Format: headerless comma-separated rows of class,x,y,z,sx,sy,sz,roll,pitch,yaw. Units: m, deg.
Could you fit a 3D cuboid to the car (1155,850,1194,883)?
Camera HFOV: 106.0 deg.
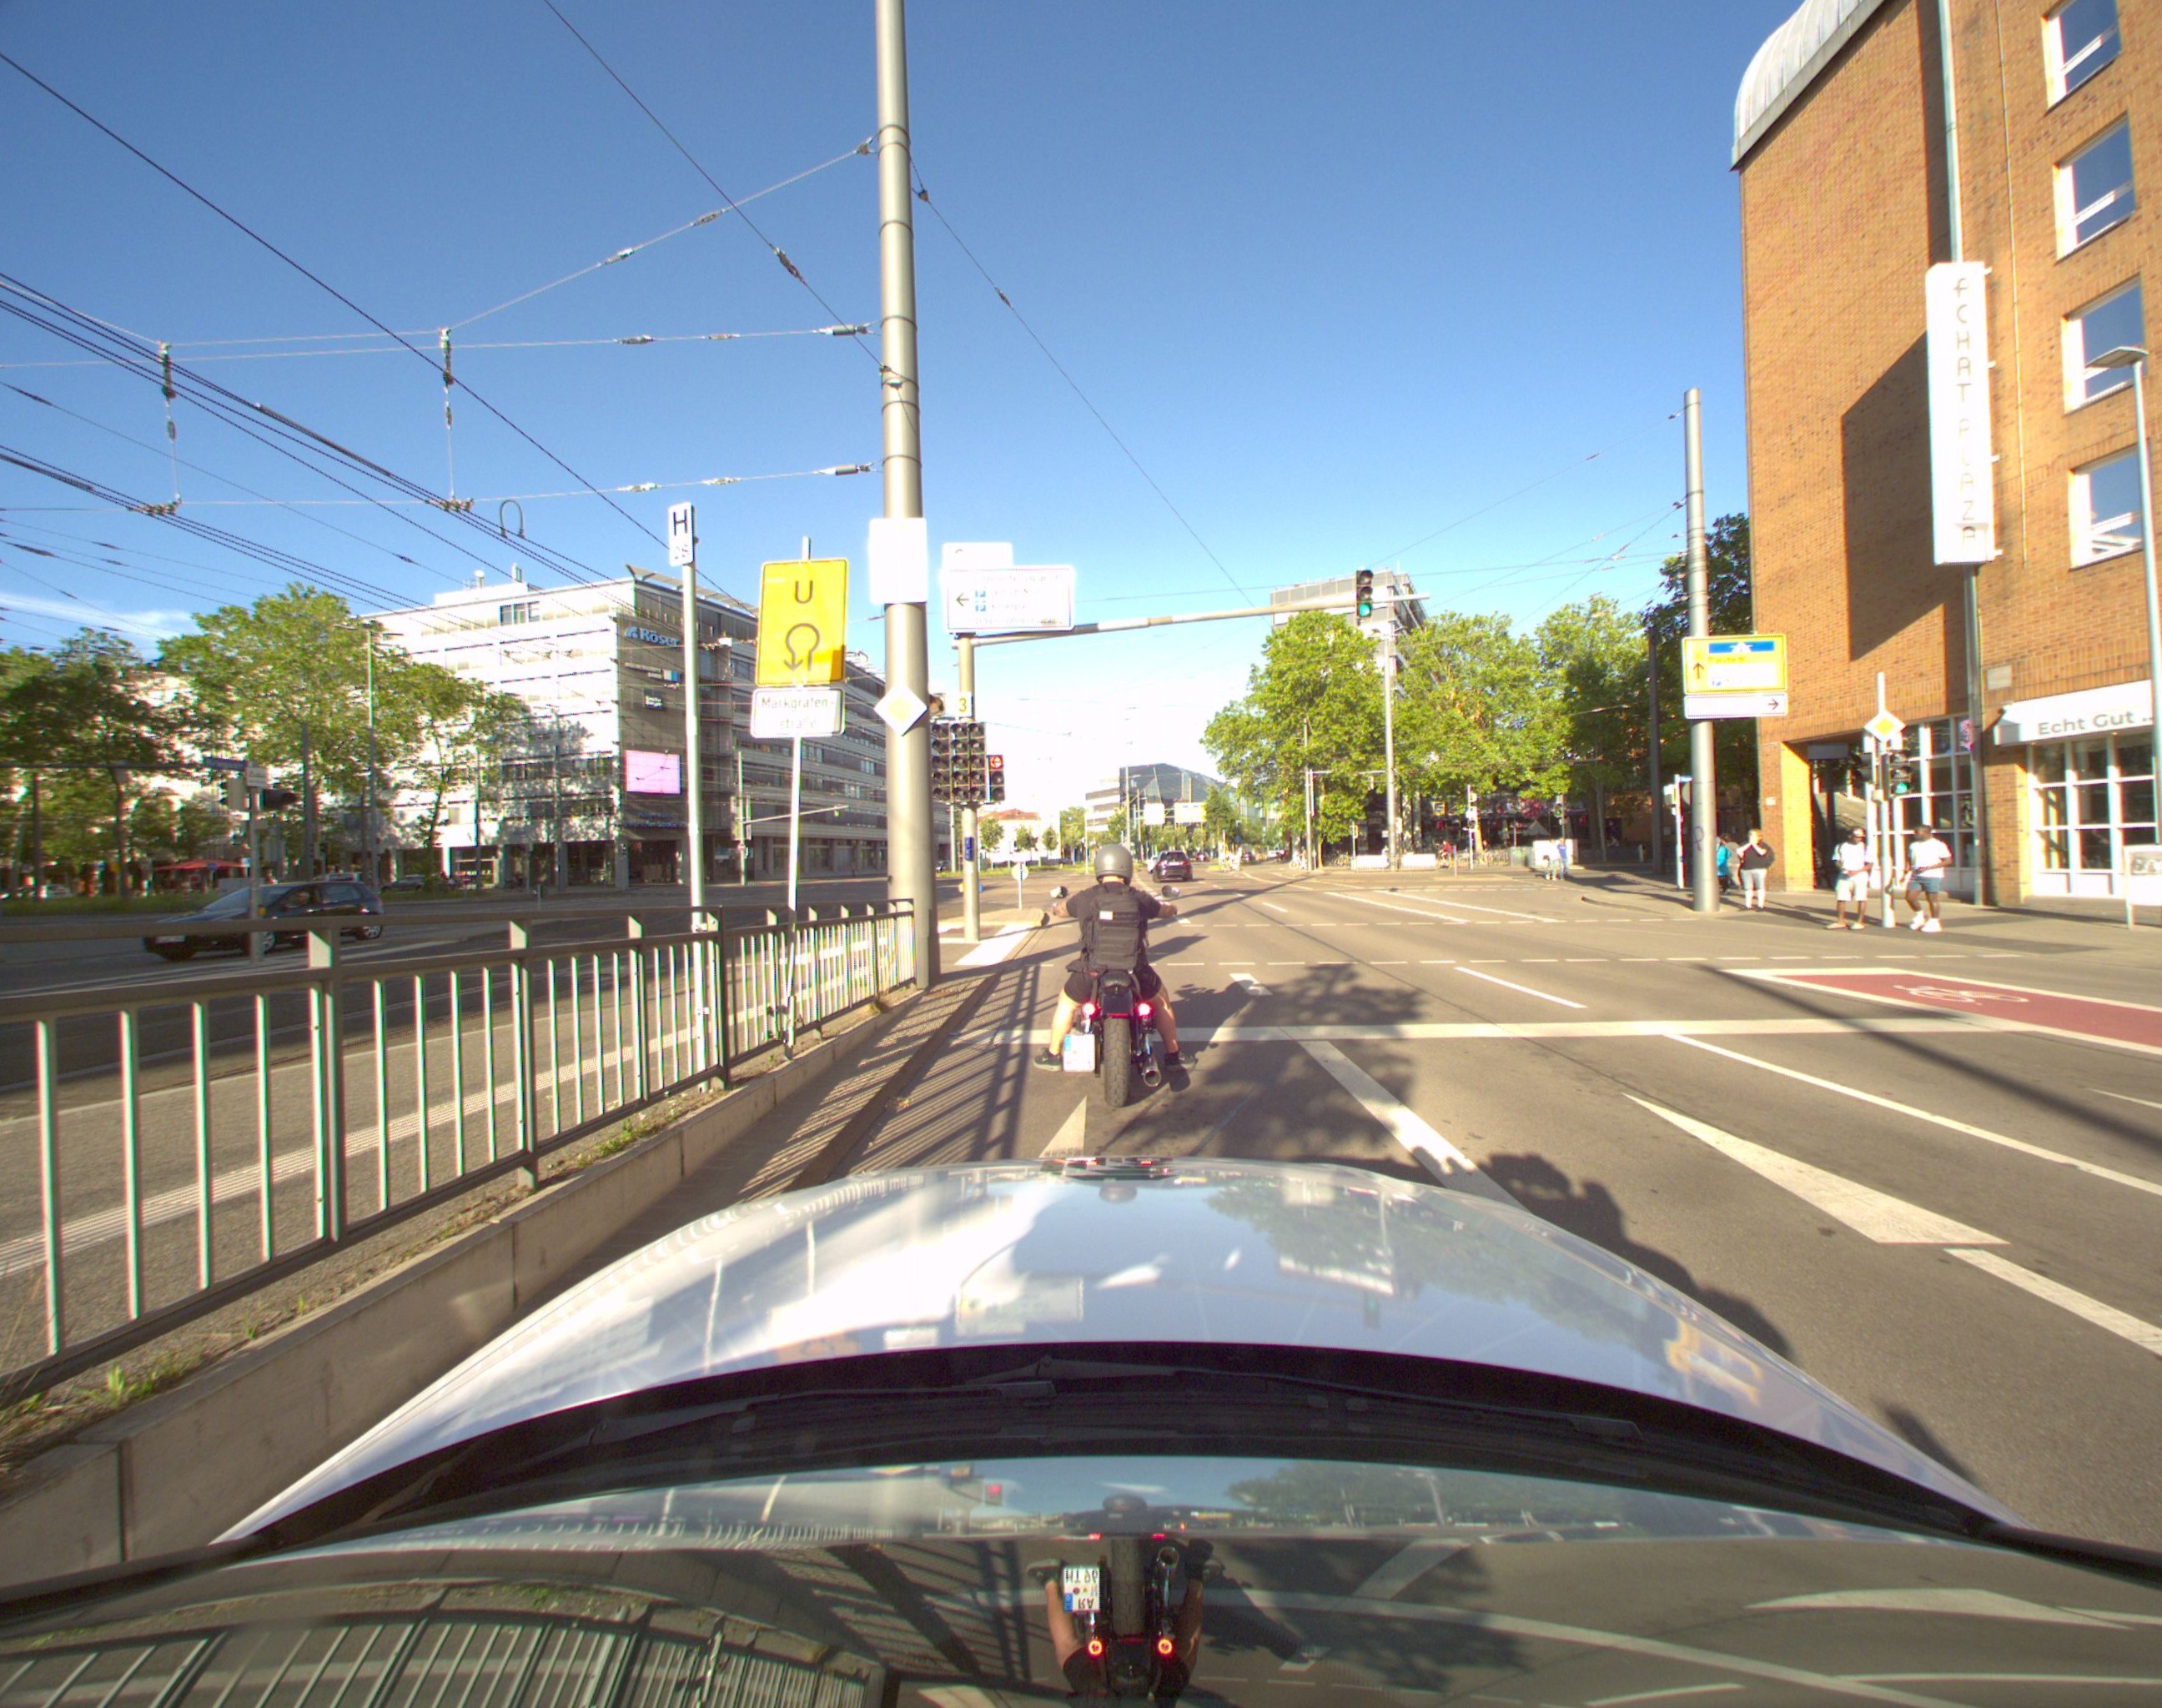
car,4.953,0.610,42.761,1.793,1.595,4.464,-2,0,9

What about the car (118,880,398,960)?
car,-17.421,1.320,17.617,1.821,1.430,4.237,0,-1,-2

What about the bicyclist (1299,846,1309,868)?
bicyclist,17.792,0.248,64.886,0.682,1.673,0.544,-2,-2,21

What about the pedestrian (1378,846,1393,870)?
pedestrian,22.286,0.293,59.568,0.829,1.704,0.760,0,-1,2

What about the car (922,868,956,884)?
car,-13.768,2.119,79.067,1.737,1.524,4.014,-1,-1,13

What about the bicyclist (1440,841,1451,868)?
bicyclist,25.109,0.049,56.139,0.582,1.837,0.403,0,-1,1

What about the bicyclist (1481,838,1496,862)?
bicyclist,25.263,-0.248,50.458,0.630,1.519,0.567,0,-1,0

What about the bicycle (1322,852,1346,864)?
bicycle,21.485,0.358,69.136,1.874,1.046,0.360,0,0,1

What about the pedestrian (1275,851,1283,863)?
pedestrian,21.961,0.289,90.262,0.814,1.314,0.640,-1,-1,11

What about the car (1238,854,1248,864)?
car,29.094,0.960,146.145,1.519,1.838,3.589,-1,-1,15

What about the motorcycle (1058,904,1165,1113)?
motorcycle,0.208,0.948,5.733,0.598,1.036,2.235,0,0,2

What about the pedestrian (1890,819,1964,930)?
pedestrian,14.036,0.328,13.516,0.682,1.780,0.589,-2,-1,-24

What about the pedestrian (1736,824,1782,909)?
pedestrian,14.616,0.274,17.559,0.727,1.792,0.515,-1,-1,42

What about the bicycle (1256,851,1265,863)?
bicycle,20.463,0.382,92.965,0.722,1.367,2.922,0,-1,6

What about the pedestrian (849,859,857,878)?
pedestrian,-25.139,1.608,89.778,0.628,2.014,0.754,0,-1,2

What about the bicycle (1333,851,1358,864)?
bicycle,21.478,0.314,66.147,1.874,1.046,0.360,0,-1,1

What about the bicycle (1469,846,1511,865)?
bicycle,25.339,0.104,50.443,2.315,1.178,0.568,0,-1,-1

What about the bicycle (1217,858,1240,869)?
bicycle,12.147,0.760,66.925,1.823,0.925,0.357,0,-1,-7

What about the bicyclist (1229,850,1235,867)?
bicyclist,12.409,0.399,66.967,0.380,1.373,0.344,0,-1,-7

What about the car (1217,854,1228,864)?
car,26.823,0.879,153.993,1.717,1.838,3.589,-1,-1,14

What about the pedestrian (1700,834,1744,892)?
pedestrian,16.771,0.236,21.317,0.590,1.452,0.601,-2,-1,2

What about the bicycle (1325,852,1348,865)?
bicycle,21.513,0.358,68.635,1.874,1.046,0.360,0,0,1

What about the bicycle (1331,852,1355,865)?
bicycle,21.551,0.337,66.960,1.874,1.046,0.360,0,-1,1

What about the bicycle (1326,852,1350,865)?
bicycle,21.537,0.364,68.149,1.874,1.046,0.360,0,-1,1

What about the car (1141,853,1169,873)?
car,5.772,0.664,63.693,1.797,1.430,4.453,-2,0,1

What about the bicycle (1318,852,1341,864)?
bicycle,21.481,0.364,70.287,1.874,1.046,0.360,0,0,1

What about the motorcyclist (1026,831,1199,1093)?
motorcyclist,0.210,0.670,5.468,1.027,1.593,0.874,-2,0,1

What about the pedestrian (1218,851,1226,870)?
pedestrian,11.907,0.547,68.694,0.587,1.557,0.488,0,-1,-6

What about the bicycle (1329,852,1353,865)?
bicycle,21.529,0.356,67.517,1.874,1.046,0.360,0,0,1

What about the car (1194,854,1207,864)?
car,20.368,0.906,139.090,1.790,1.678,4.055,0,-1,14

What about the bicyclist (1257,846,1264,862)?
bicyclist,20.450,0.038,92.890,0.693,1.808,0.730,0,-1,6

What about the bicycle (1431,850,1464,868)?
bicycle,25.266,0.356,56.118,2.034,1.214,0.421,0,-1,2

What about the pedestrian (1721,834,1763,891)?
pedestrian,17.434,0.224,21.476,0.590,1.476,0.552,-2,-1,2

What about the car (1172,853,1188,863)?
car,15.045,0.641,123.967,1.790,1.430,4.470,-2,0,14

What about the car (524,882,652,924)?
car,-13.872,1.357,23.067,2.884,1.063,1.235,0,-1,-19

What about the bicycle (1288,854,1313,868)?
bicycle,17.534,0.572,64.972,1.854,1.044,0.540,-1,-1,20

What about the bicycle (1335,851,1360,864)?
bicycle,21.362,0.292,65.365,1.874,1.046,0.360,0,-1,1

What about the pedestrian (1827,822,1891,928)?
pedestrian,13.654,0.358,14.307,0.586,1.780,0.686,-5,0,33

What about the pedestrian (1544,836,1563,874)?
pedestrian,19.110,0.038,32.943,0.561,1.533,0.706,-1,-1,22

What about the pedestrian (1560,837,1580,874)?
pedestrian,19.692,0.054,32.814,0.561,1.479,0.706,-1,-1,22
